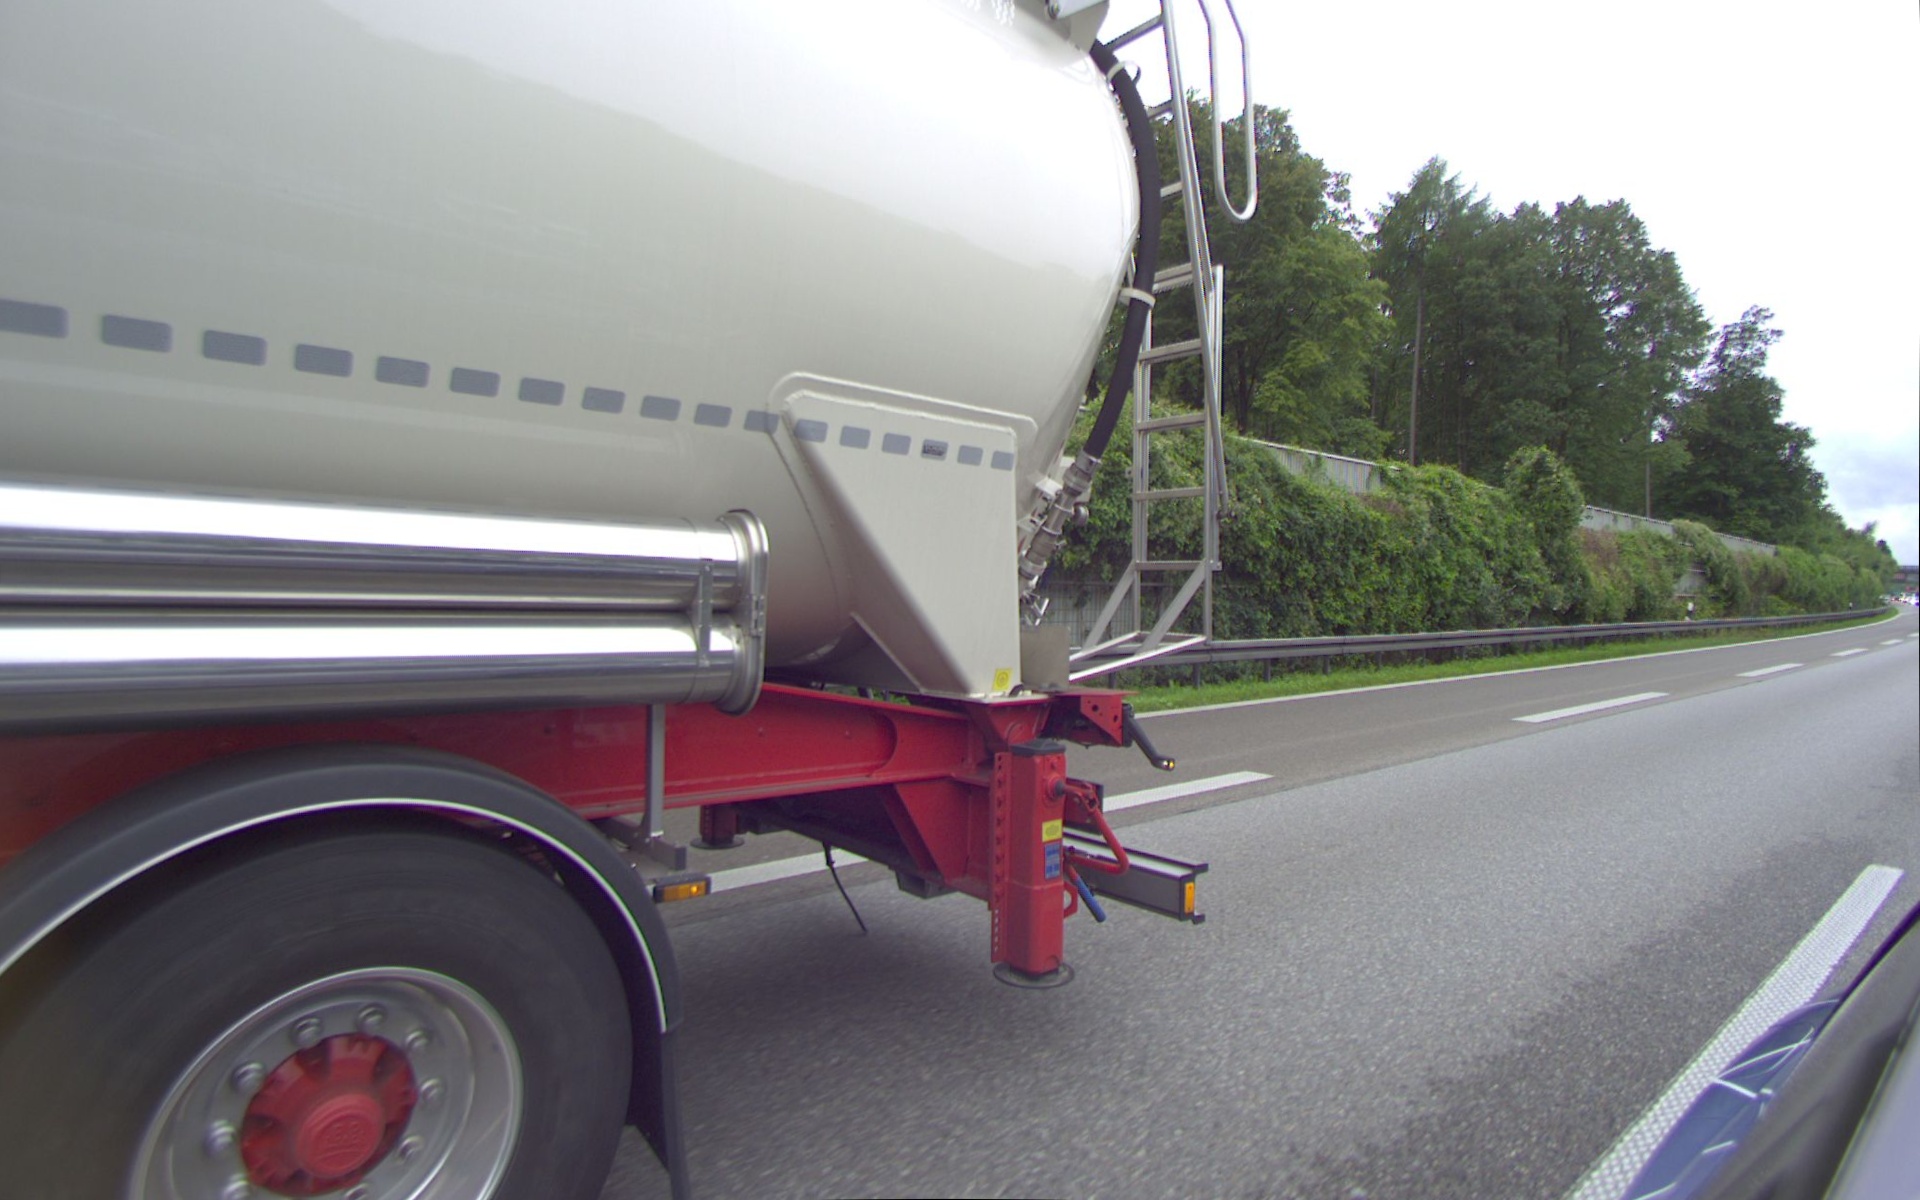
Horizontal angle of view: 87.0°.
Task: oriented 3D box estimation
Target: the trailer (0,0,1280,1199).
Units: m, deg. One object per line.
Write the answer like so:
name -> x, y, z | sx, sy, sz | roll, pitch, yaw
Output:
trailer -> -4.632, -0.603, 0.250 | 12.901, 3.988, 2.673 | 0, 1, -41
